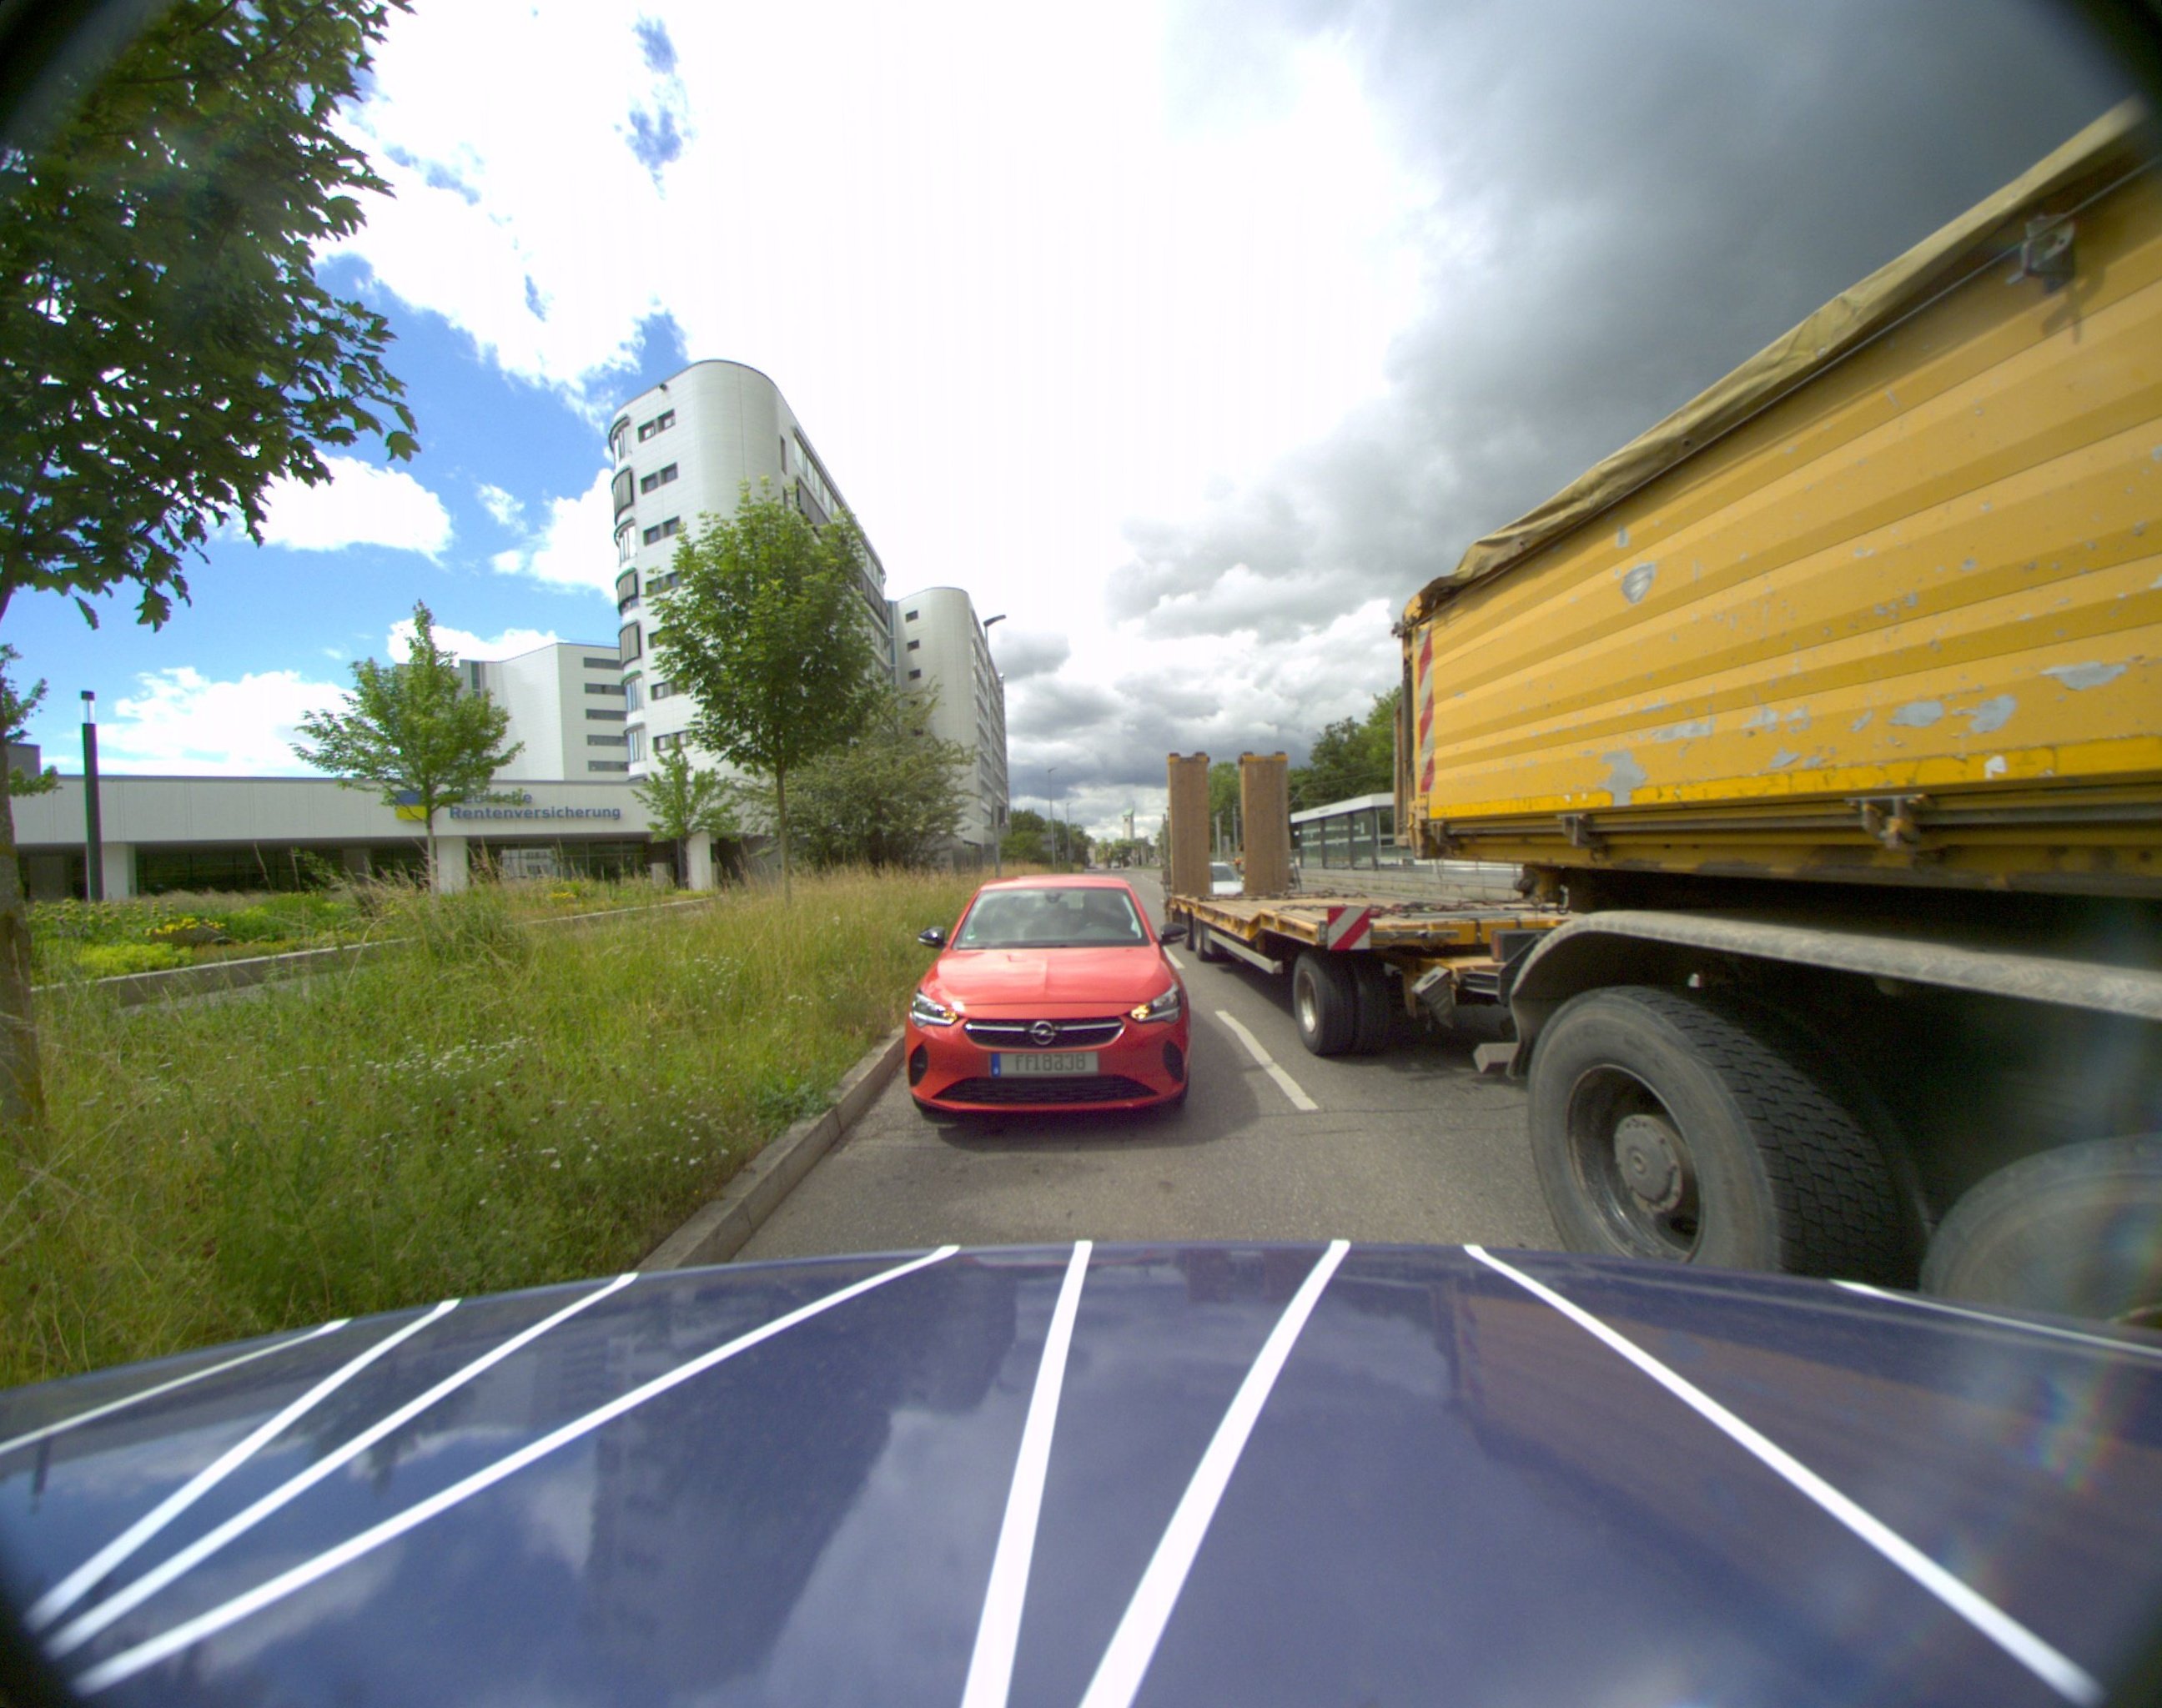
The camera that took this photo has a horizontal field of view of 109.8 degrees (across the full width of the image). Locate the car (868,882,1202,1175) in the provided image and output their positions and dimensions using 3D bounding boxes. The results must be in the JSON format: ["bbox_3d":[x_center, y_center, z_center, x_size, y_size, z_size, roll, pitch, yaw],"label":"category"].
[{"bbox_3d":[-0.213,0.991,5.858,1.749,1.408,3.676,-1,0,1],"label":"car"}]

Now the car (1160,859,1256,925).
[{"bbox_3d":[3.051,0.880,19.027,1.784,1.408,3.785,-2,0,1],"label":"car"}]

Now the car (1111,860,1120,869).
[{"bbox_3d":[8.045,2.384,176.322,1.998,1.805,4.000,-2,0,1],"label":"car"}]

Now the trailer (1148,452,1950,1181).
[{"bbox_3d":[2.926,-0.171,9.428,3.057,3.676,10.965,-2,0,0],"label":"trailer"}]
